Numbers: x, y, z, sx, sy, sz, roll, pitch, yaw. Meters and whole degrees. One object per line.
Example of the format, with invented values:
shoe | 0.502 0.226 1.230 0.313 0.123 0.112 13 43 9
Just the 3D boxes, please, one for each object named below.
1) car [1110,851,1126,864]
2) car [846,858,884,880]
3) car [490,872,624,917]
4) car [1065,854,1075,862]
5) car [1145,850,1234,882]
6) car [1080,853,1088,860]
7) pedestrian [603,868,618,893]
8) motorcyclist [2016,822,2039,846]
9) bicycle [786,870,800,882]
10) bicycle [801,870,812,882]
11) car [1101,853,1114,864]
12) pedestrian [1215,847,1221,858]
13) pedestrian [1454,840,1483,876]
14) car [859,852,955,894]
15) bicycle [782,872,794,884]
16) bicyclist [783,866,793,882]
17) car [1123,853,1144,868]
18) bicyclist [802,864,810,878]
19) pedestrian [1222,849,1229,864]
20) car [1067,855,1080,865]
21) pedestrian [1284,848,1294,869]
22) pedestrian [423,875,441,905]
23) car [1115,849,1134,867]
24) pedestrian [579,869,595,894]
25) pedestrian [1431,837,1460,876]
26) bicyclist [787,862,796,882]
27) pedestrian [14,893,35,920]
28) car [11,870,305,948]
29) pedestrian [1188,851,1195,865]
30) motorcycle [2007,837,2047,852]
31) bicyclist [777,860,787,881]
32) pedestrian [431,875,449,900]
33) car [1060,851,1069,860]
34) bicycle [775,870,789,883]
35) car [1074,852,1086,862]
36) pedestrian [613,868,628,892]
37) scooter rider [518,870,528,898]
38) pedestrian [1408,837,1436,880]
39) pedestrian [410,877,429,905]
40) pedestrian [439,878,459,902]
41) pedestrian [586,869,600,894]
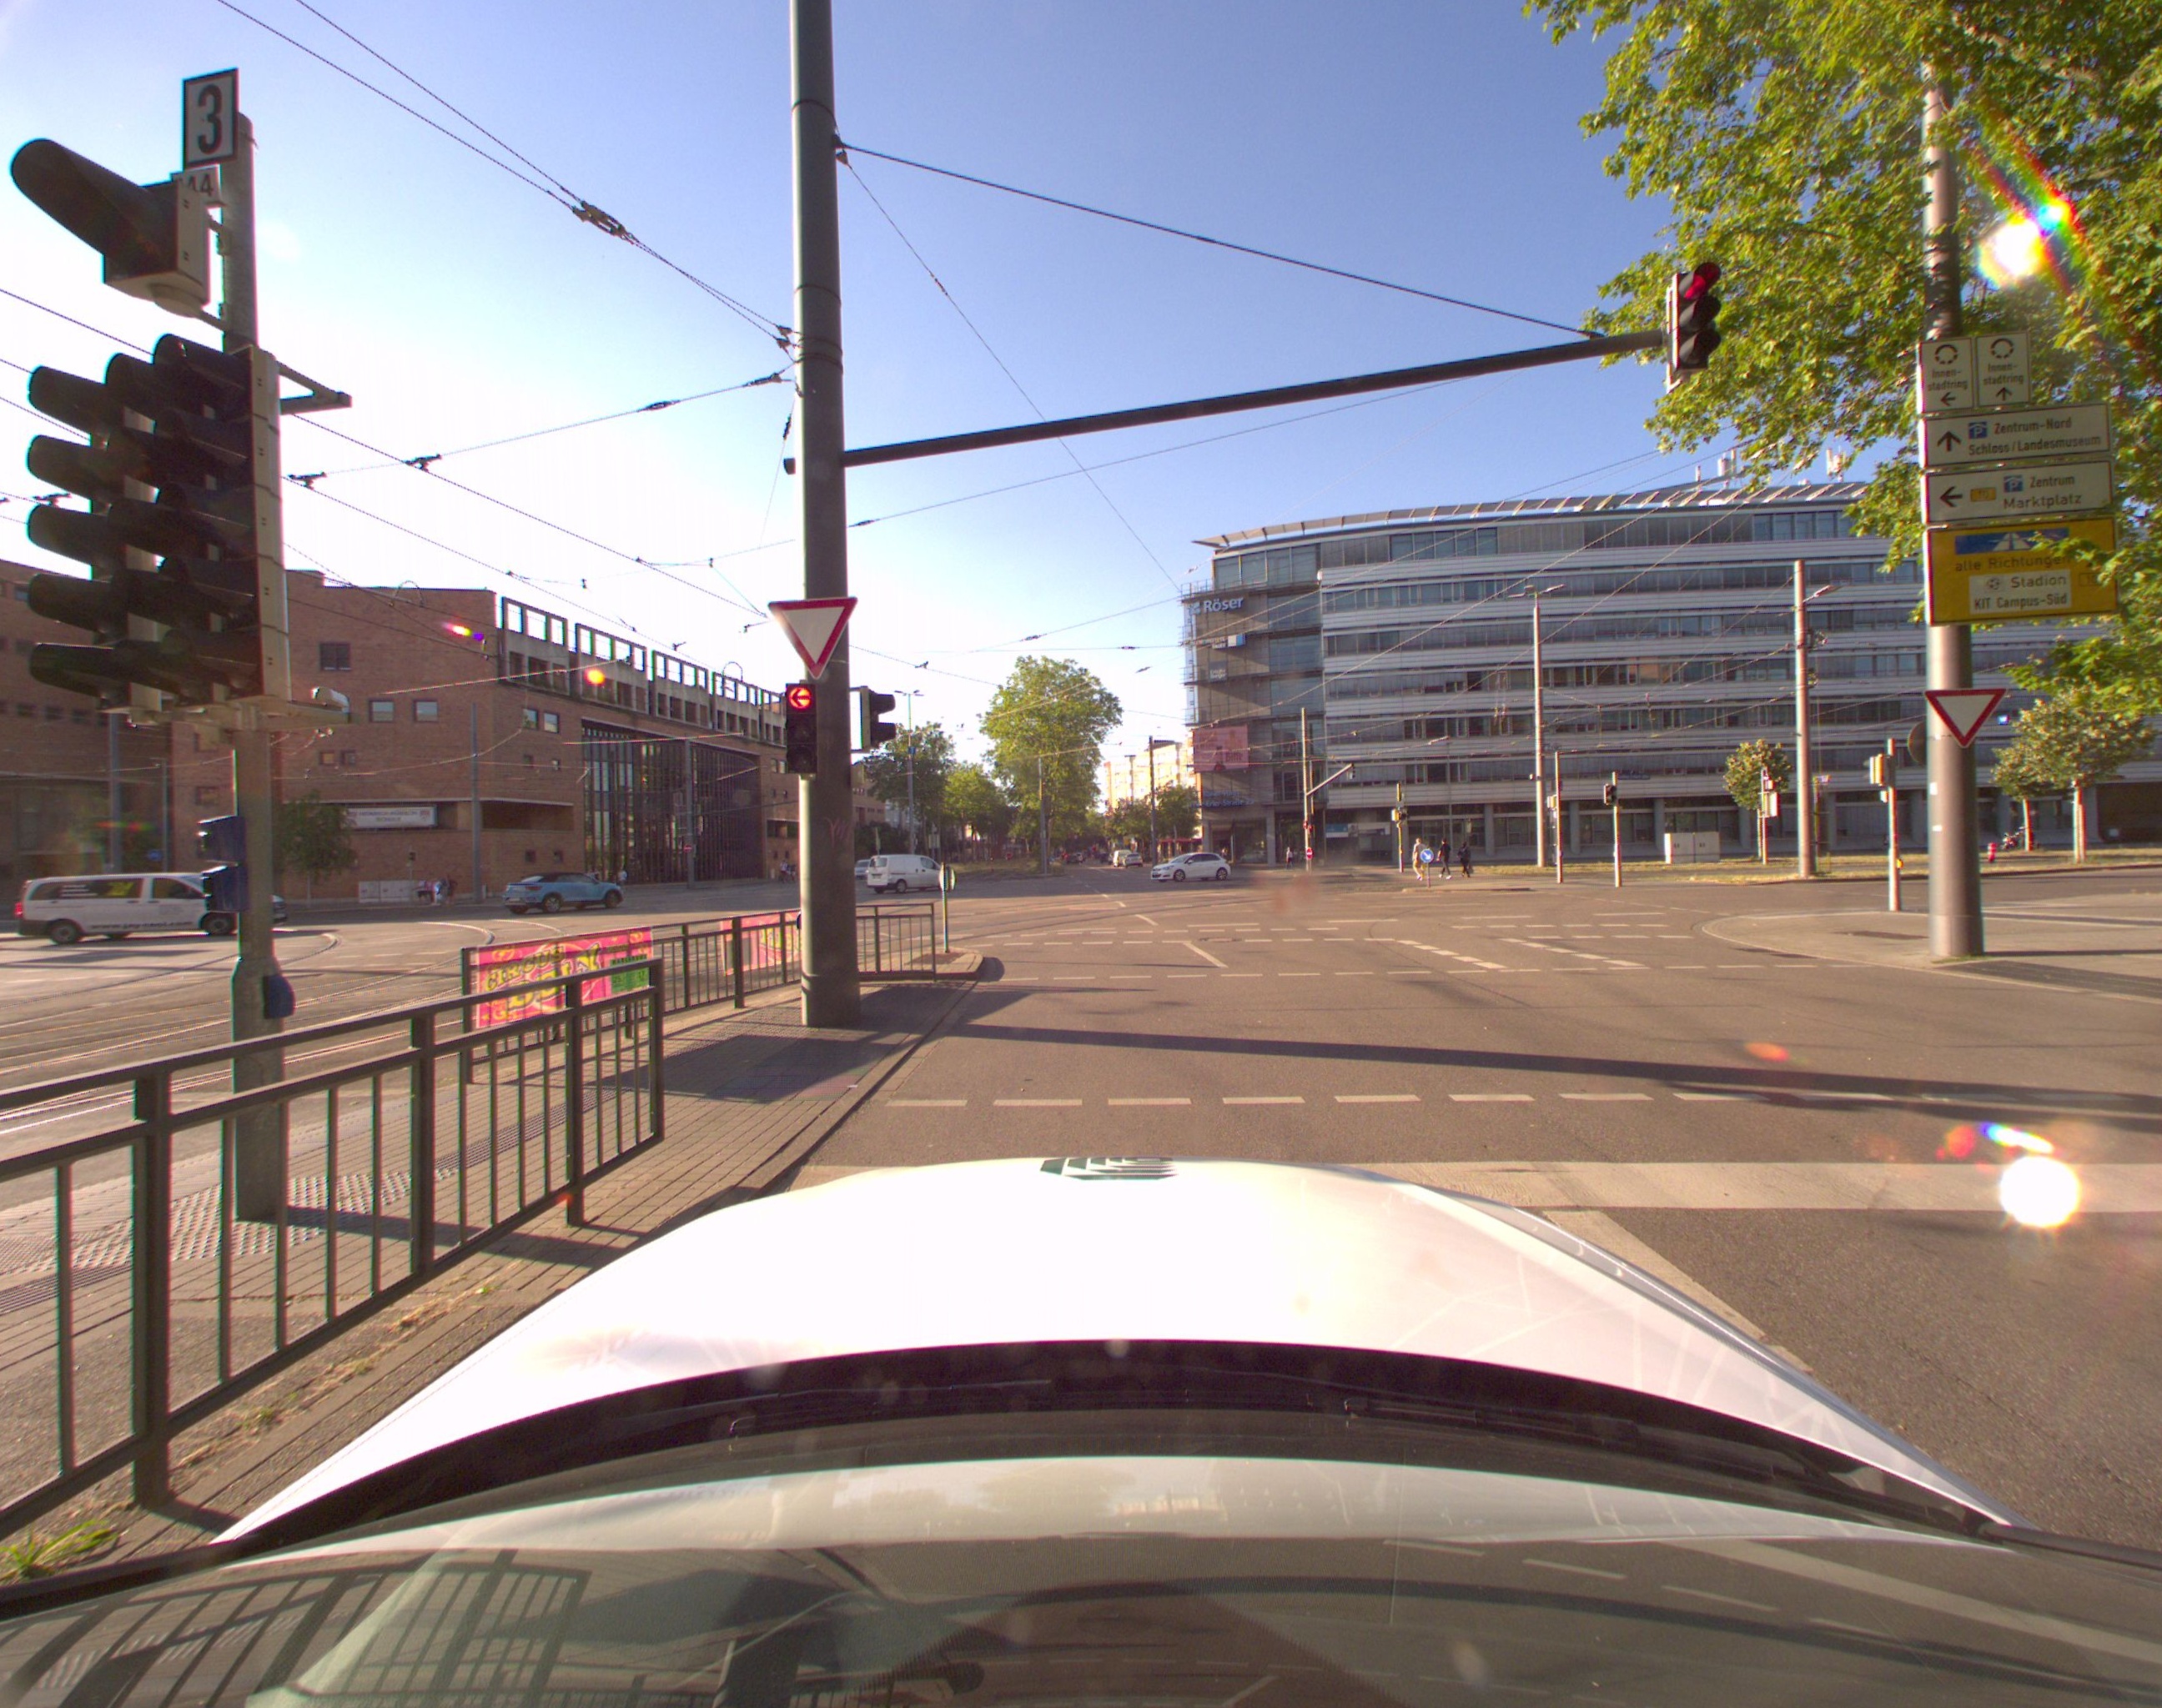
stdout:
car | 4.816 0.475 105.301 1.986 1.618 4.002 -2 0 2
car | -18.009 1.216 67.958 1.987 1.640 4.001 -2 0 1
car | -19.751 1.493 30.922 1.614 1.426 4.123 -2 0 19
car | -1.968 0.791 147.153 1.792 1.442 3.999 0 -1 0
car | 5.630 0.602 42.296 4.316 1.488 1.747 -2 0 -25
car | 0.886 0.654 228.558 1.986 1.750 4.002 -2 0 2
pedestrian | -31.763 1.790 54.951 0.586 1.683 0.553 -2 0 13
motorcyclist | 53.453 -1.120 45.977 0.708 1.275 0.460 -2 0 5
bicycle | -23.539 1.803 66.533 0.471 0.963 1.576 -2 0 2
bicycle | -24.379 1.958 72.333 0.449 0.963 1.348 -2 0 2
car | 4.087 0.654 126.783 1.986 1.618 4.002 -2 0 2
pedestrian | 21.362 -0.294 126.679 0.741 1.714 0.612 -2 0 1
pedestrian | 17.433 0.190 36.664 0.943 1.564 0.899 -2 0 9
car | -8.510 0.899 40.107 1.738 1.867 4.554 -2 0 37
bicycle | -24.963 2.043 69.336 0.466 0.963 1.320 -2 0 2
bicyclist | -24.955 1.705 69.358 0.503 1.304 0.581 -2 0 1
car | 5.286 0.619 82.828 1.986 1.376 4.002 -2 0 2
bicyclist | -24.396 1.501 72.309 0.503 1.179 0.581 -2 0 1
pedestrian | 14.131 0.246 79.545 0.608 1.507 0.580 -2 0 9
car | -1.134 0.845 122.318 1.791 1.442 4.002 -2 0 2
pedestrian | 15.019 0.331 58.837 0.608 1.507 0.580 -2 0 9
pedestrian | -37.557 2.078 47.129 0.597 1.648 0.549 -2 0 1
car | 4.739 0.448 89.645 1.986 1.860 4.002 -2 0 2
pedestrian | -33.400 1.864 55.028 0.643 1.683 0.626 -2 0 27
pedestrian | 16.489 0.107 36.853 0.907 1.685 1.038 -2 0 9
bicyclist | -23.623 1.427 66.532 0.456 1.603 0.581 -2 0 1
pedestrian | -60.600 3.012 46.712 0.508 1.463 0.466 -2 0 -6
car | -26.379 1.506 23.533 5.324 1.848 1.956 -2 0 -17
pedestrian | 14.194 0.528 104.854 0.741 1.714 0.612 -2 0 1
motorcycle | 53.392 -0.540 45.986 1.560 0.810 0.468 -2 0 6
bicyclist | -24.324 1.340 66.314 0.534 1.731 0.581 -2 0 1
pedestrian | -38.058 1.965 48.369 0.568 1.453 0.612 -2 0 -13
car | -4.019 0.377 199.828 1.986 2.013 4.001 -2 0 1
bicycle | -24.346 1.829 66.318 0.540 0.963 1.587 -2 0 2
car | -0.179 0.496 135.428 1.791 1.442 4.002 -2 0 2
pedestrian | -32.099 1.832 56.771 0.607 1.625 0.619 -2 0 8
scooter rider | -33.709 1.803 49.180 0.441 1.647 0.226 -2 0 -44
pedestrian | 14.727 0.188 35.168 0.859 1.788 0.873 -2 0 8
pedestrian | -38.460 2.136 47.356 0.594 1.614 0.589 -2 0 1
pedestrian | -36.540 2.070 47.098 0.597 1.339 0.684 -2 0 17
pedestrian | -33.717 1.883 56.238 0.570 1.683 0.549 -2 0 1
